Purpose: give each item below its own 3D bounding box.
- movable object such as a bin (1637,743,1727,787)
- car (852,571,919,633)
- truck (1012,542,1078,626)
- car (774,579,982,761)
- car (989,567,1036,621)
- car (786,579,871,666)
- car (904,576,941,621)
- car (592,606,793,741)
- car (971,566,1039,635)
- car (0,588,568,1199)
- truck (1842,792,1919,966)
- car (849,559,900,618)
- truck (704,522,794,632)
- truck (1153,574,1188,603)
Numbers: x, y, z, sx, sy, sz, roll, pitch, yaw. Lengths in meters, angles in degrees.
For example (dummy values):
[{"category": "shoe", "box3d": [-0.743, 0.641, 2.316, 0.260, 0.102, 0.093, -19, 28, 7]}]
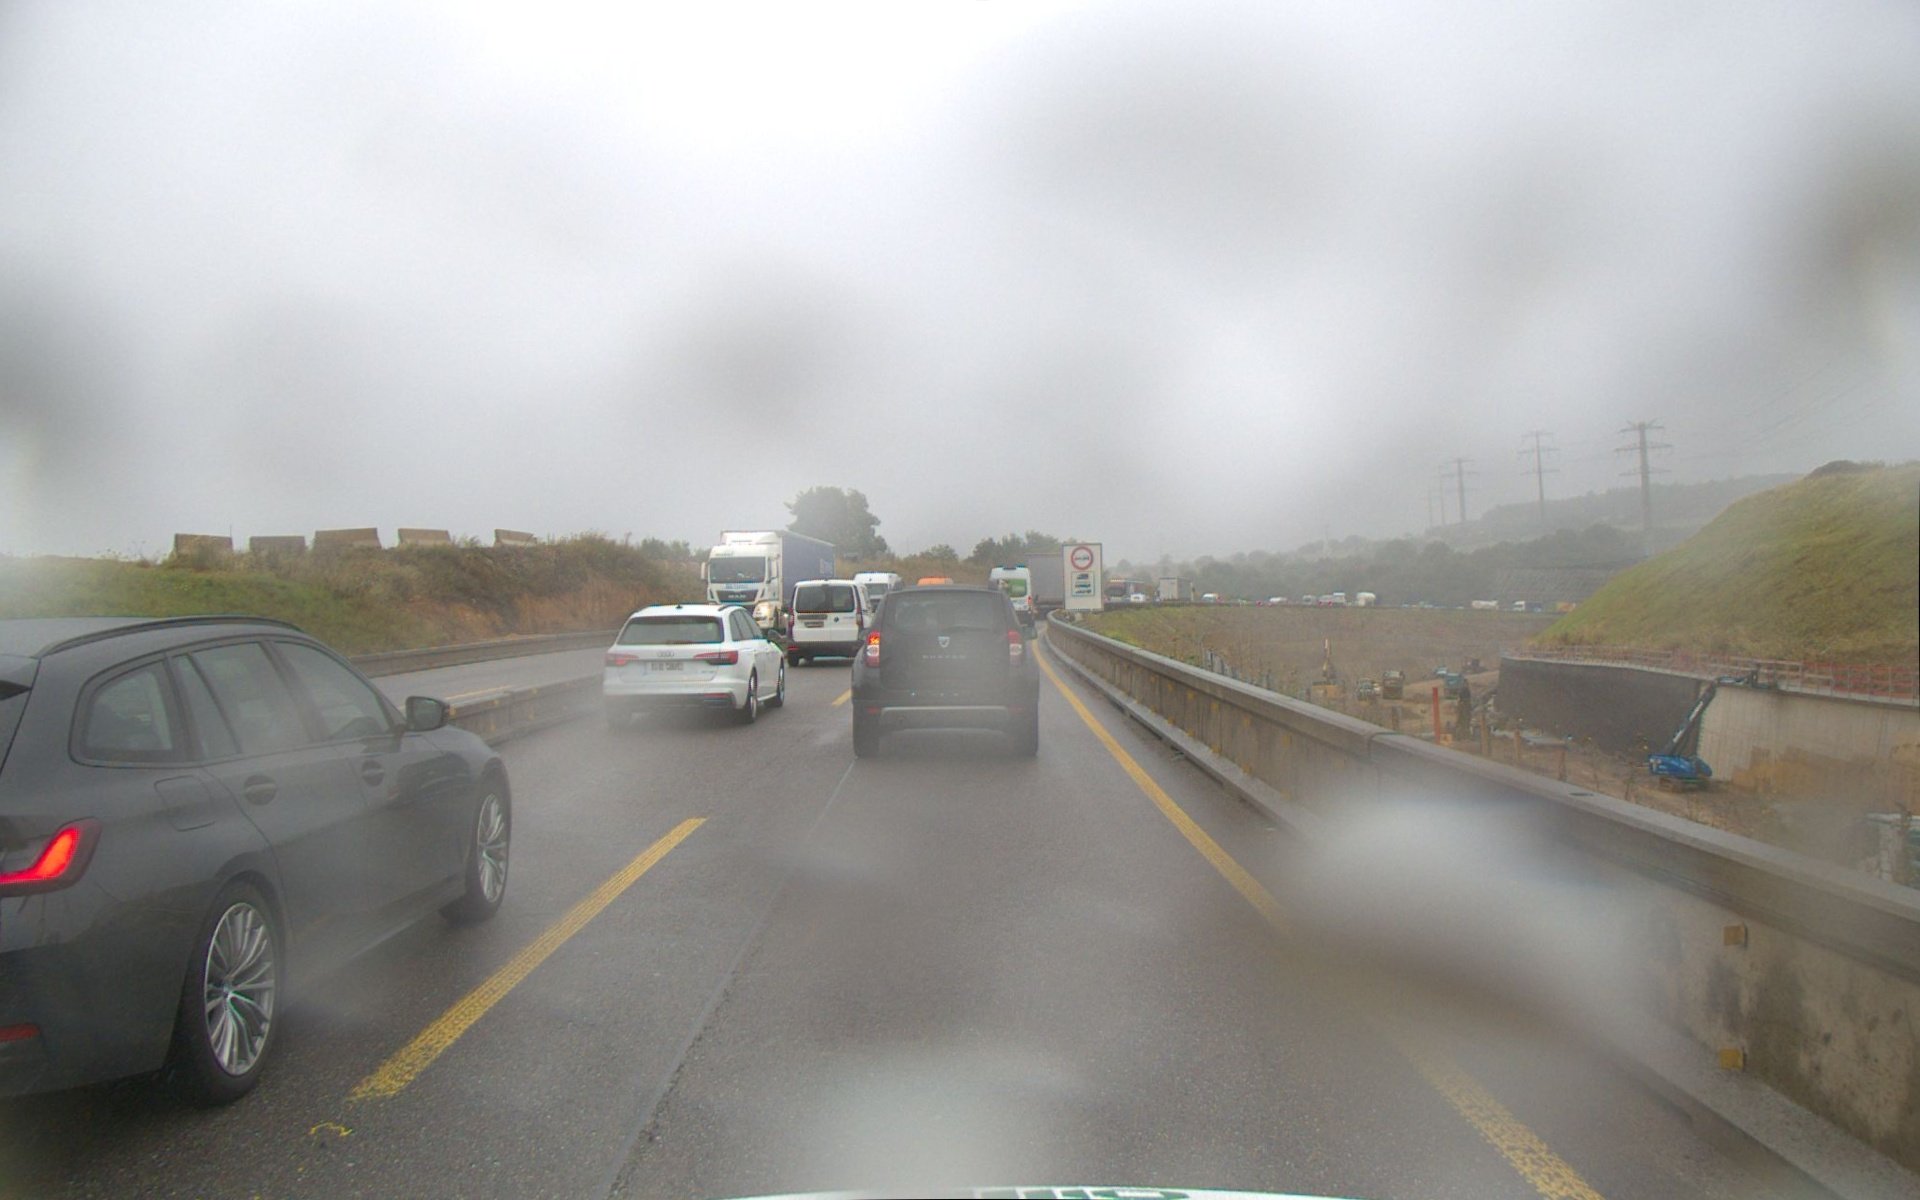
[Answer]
[{"category": "movable object such as a bin", "box3d": [37.237, 8.474, 85.320, 1.978, 2.049, 3.791, 3, -4, -36]}, {"category": "car", "box3d": [-2.275, 0.070, 51.376, 1.788, 1.847, 4.000, 0, -1, 1]}, {"category": "truck", "box3d": [5.593, -0.937, 106.900, 3.468, 5.166, 10.449, 0, -1, 7]}, {"category": "car", "box3d": [-0.705, 0.642, 16.746, 1.788, 1.619, 4.001, 0, -1, 2]}, {"category": "car", "box3d": [2.480, -0.261, 77.617, 1.787, 2.480, 4.161, 0, -1, 7]}, {"category": "car", "box3d": [-2.927, 0.497, 37.050, 1.790, 1.847, 3.996, 0, -1, -4]}, {"category": "car", "box3d": [-2.252, -0.133, 100.443, 2.012, 2.622, 7.021, 0, 0, 0]}, {"category": "car", "box3d": [-3.252, 0.858, 20.871, 1.788, 1.525, 4.000, 0, -1, 1]}, {"category": "car", "box3d": [1.296, 0.031, 46.462, 1.788, 1.847, 4.001, 0, -1, 3]}, {"category": "car", "box3d": [-2.913, 0.772, 5.923, 1.699, 1.488, 5.629, -1, 2, 0]}, {"category": "truck", "box3d": [23.093, 6.540, 36.811, 2.672, 3.552, 9.069, 0, -1, 4]}, {"category": "car", "box3d": [-4.082, -0.586, 79.619, 1.964, 2.700, 6.886, 0, 1, 1]}, {"category": "truck", "box3d": [-8.232, -0.909, 65.133, 2.731, 4.105, 5.820, 0, 1, 1]}, {"category": "truck", "box3d": [28.546, -1.572, 224.350, 3.398, 3.780, 8.424, -1, 0, 16]}]
